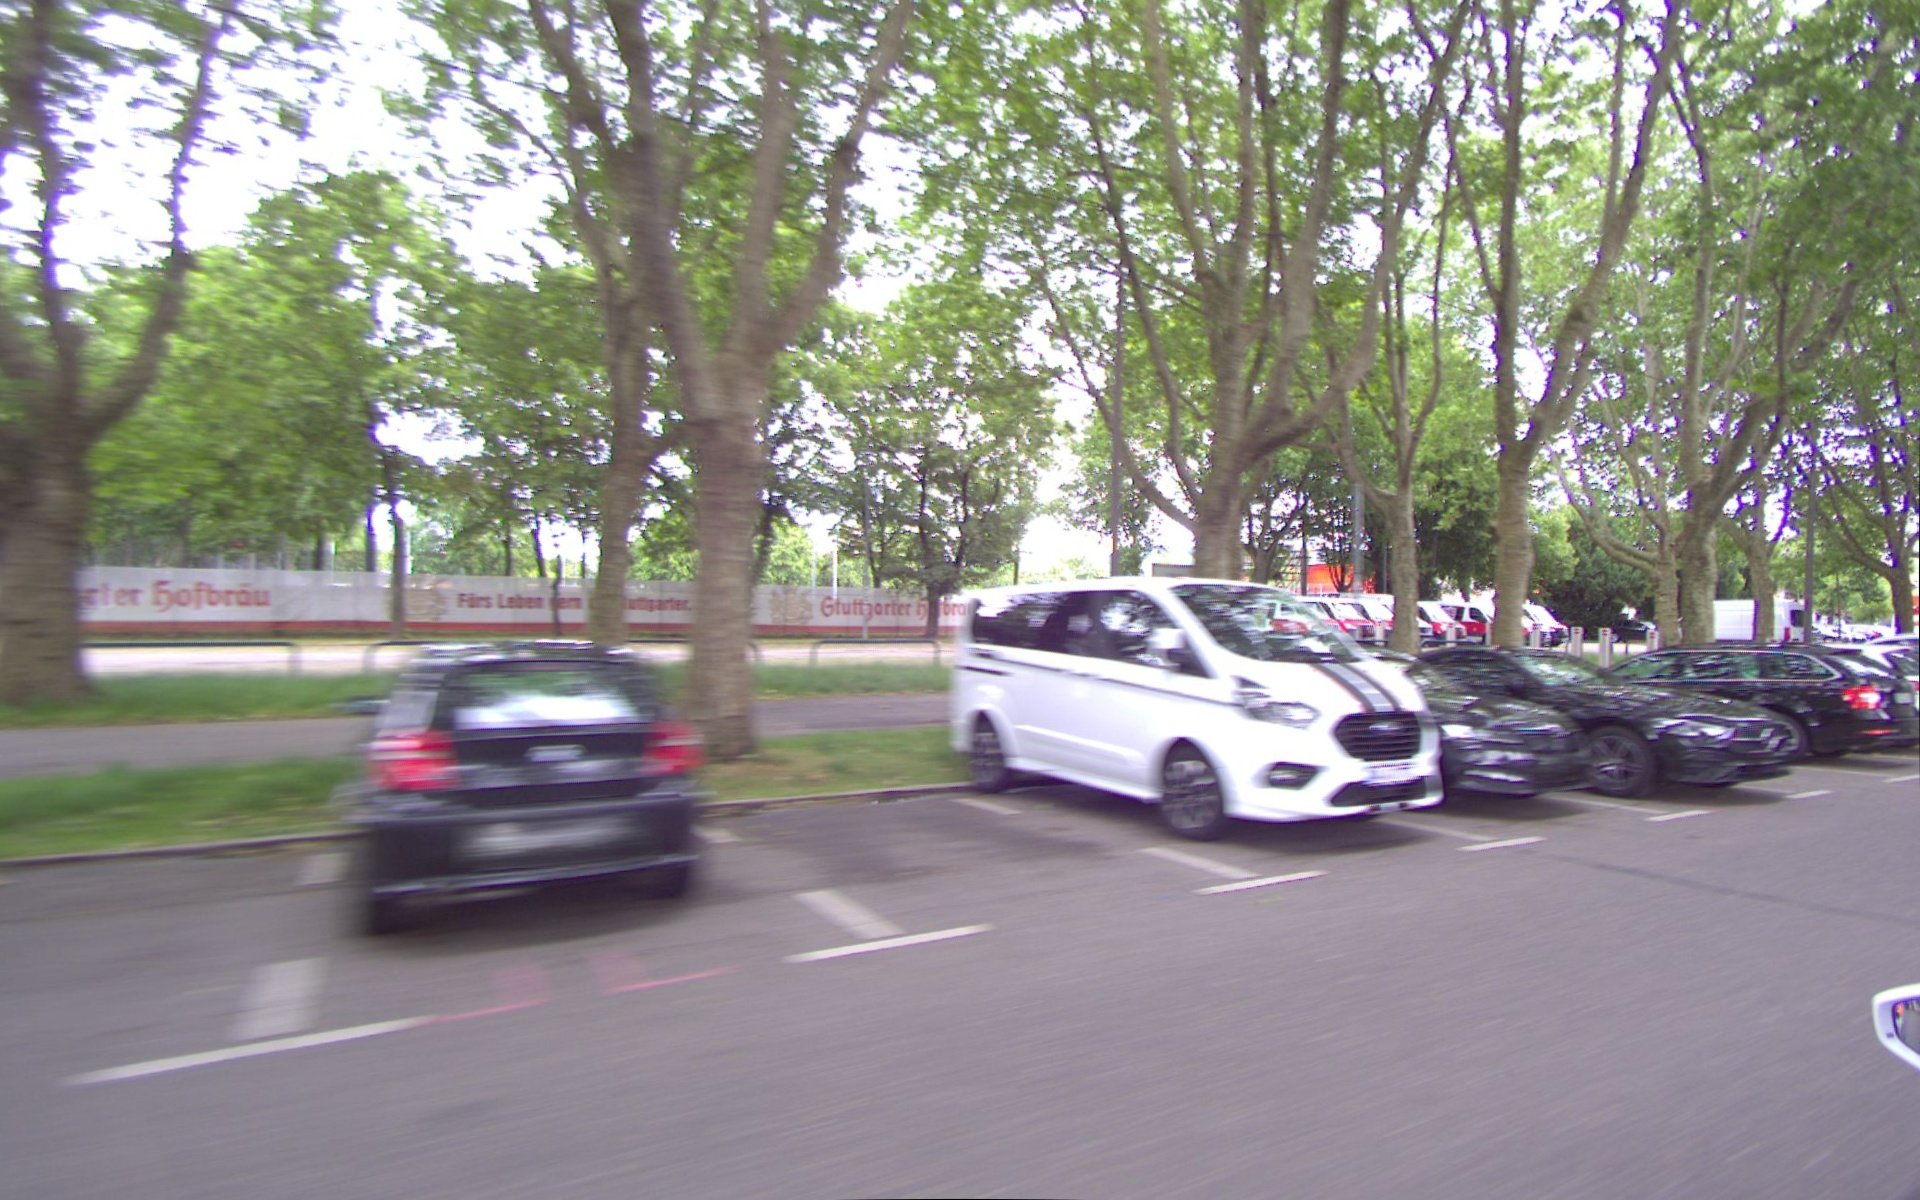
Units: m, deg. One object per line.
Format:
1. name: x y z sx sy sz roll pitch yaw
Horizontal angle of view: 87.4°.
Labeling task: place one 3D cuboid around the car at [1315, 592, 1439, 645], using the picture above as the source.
1. car: 21.569 0.899 52.220 1.976 2.560 5.974 1 0 -29

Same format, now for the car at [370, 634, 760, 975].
1. car: -2.748 0.968 6.389 1.664 1.431 3.967 1 -3 -31

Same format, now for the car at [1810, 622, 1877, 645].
1. car: 70.702 2.678 80.433 1.518 1.611 3.735 1 0 -32

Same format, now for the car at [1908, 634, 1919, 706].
1. car: 23.222 1.542 21.475 1.676 1.629 4.022 2 -3 -32

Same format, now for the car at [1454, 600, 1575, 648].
1. car: 31.959 1.352 58.114 1.976 2.560 5.974 1 0 -29

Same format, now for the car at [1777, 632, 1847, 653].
1. car: 64.821 3.224 76.482 1.518 1.368 3.736 1 0 -31

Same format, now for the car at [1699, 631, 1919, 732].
1. car: 14.431 1.247 16.116 1.676 1.490 3.806 1 -2 -32

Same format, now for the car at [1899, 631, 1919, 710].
1. car: 21.416 1.420 19.880 1.814 1.629 3.806 1 -2 -32

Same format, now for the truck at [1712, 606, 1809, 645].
1. truck: 60.256 1.894 75.718 2.180 2.779 5.213 1 0 -29

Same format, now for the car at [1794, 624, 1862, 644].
1. car: 68.063 2.638 78.831 1.518 1.368 3.735 1 0 -32

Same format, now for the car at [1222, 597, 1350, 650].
1. car: 15.348 1.052 47.676 1.976 2.282 5.974 1 0 -29

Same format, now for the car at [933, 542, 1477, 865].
1. car: 1.748 0.759 8.979 1.897 2.045 4.871 1 -3 -30

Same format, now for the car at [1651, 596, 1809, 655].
1. car: 37.156 1.167 48.670 1.976 2.632 5.761 1 0 -29

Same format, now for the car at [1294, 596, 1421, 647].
1. car: 19.717 1.009 50.219 1.976 2.349 5.974 1 0 -29

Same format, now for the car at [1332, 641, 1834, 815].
1. car: 6.378 1.190 10.953 1.750 1.471 4.436 1 -3 -25

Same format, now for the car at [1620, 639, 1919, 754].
1. car: 12.365 1.339 15.031 1.843 1.493 3.738 1 -3 -30

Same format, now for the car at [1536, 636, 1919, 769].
1. car: 10.124 1.236 13.430 1.520 1.490 3.974 1 -2 -32

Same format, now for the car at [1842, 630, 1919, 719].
1. car: 18.816 1.364 18.081 1.776 1.629 4.053 1 -2 -27

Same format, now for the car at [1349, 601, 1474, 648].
1. car: 23.784 1.244 53.203 1.976 2.270 5.974 1 0 -29

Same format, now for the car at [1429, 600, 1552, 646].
1. car: 29.852 1.251 56.774 1.976 2.336 5.974 1 0 -29

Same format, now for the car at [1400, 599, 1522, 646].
1. car: 27.689 1.208 55.754 1.976 2.361 5.974 1 0 -29

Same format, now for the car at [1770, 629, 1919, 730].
1. car: 16.514 1.330 17.127 1.931 1.649 3.806 1 -2 -32

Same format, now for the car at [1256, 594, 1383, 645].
1. car: 17.404 0.891 48.981 1.976 2.282 5.974 1 0 -29

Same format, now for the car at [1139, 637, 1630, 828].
1. car: 3.917 1.120 10.142 1.753 1.471 4.428 1 -3 -30
